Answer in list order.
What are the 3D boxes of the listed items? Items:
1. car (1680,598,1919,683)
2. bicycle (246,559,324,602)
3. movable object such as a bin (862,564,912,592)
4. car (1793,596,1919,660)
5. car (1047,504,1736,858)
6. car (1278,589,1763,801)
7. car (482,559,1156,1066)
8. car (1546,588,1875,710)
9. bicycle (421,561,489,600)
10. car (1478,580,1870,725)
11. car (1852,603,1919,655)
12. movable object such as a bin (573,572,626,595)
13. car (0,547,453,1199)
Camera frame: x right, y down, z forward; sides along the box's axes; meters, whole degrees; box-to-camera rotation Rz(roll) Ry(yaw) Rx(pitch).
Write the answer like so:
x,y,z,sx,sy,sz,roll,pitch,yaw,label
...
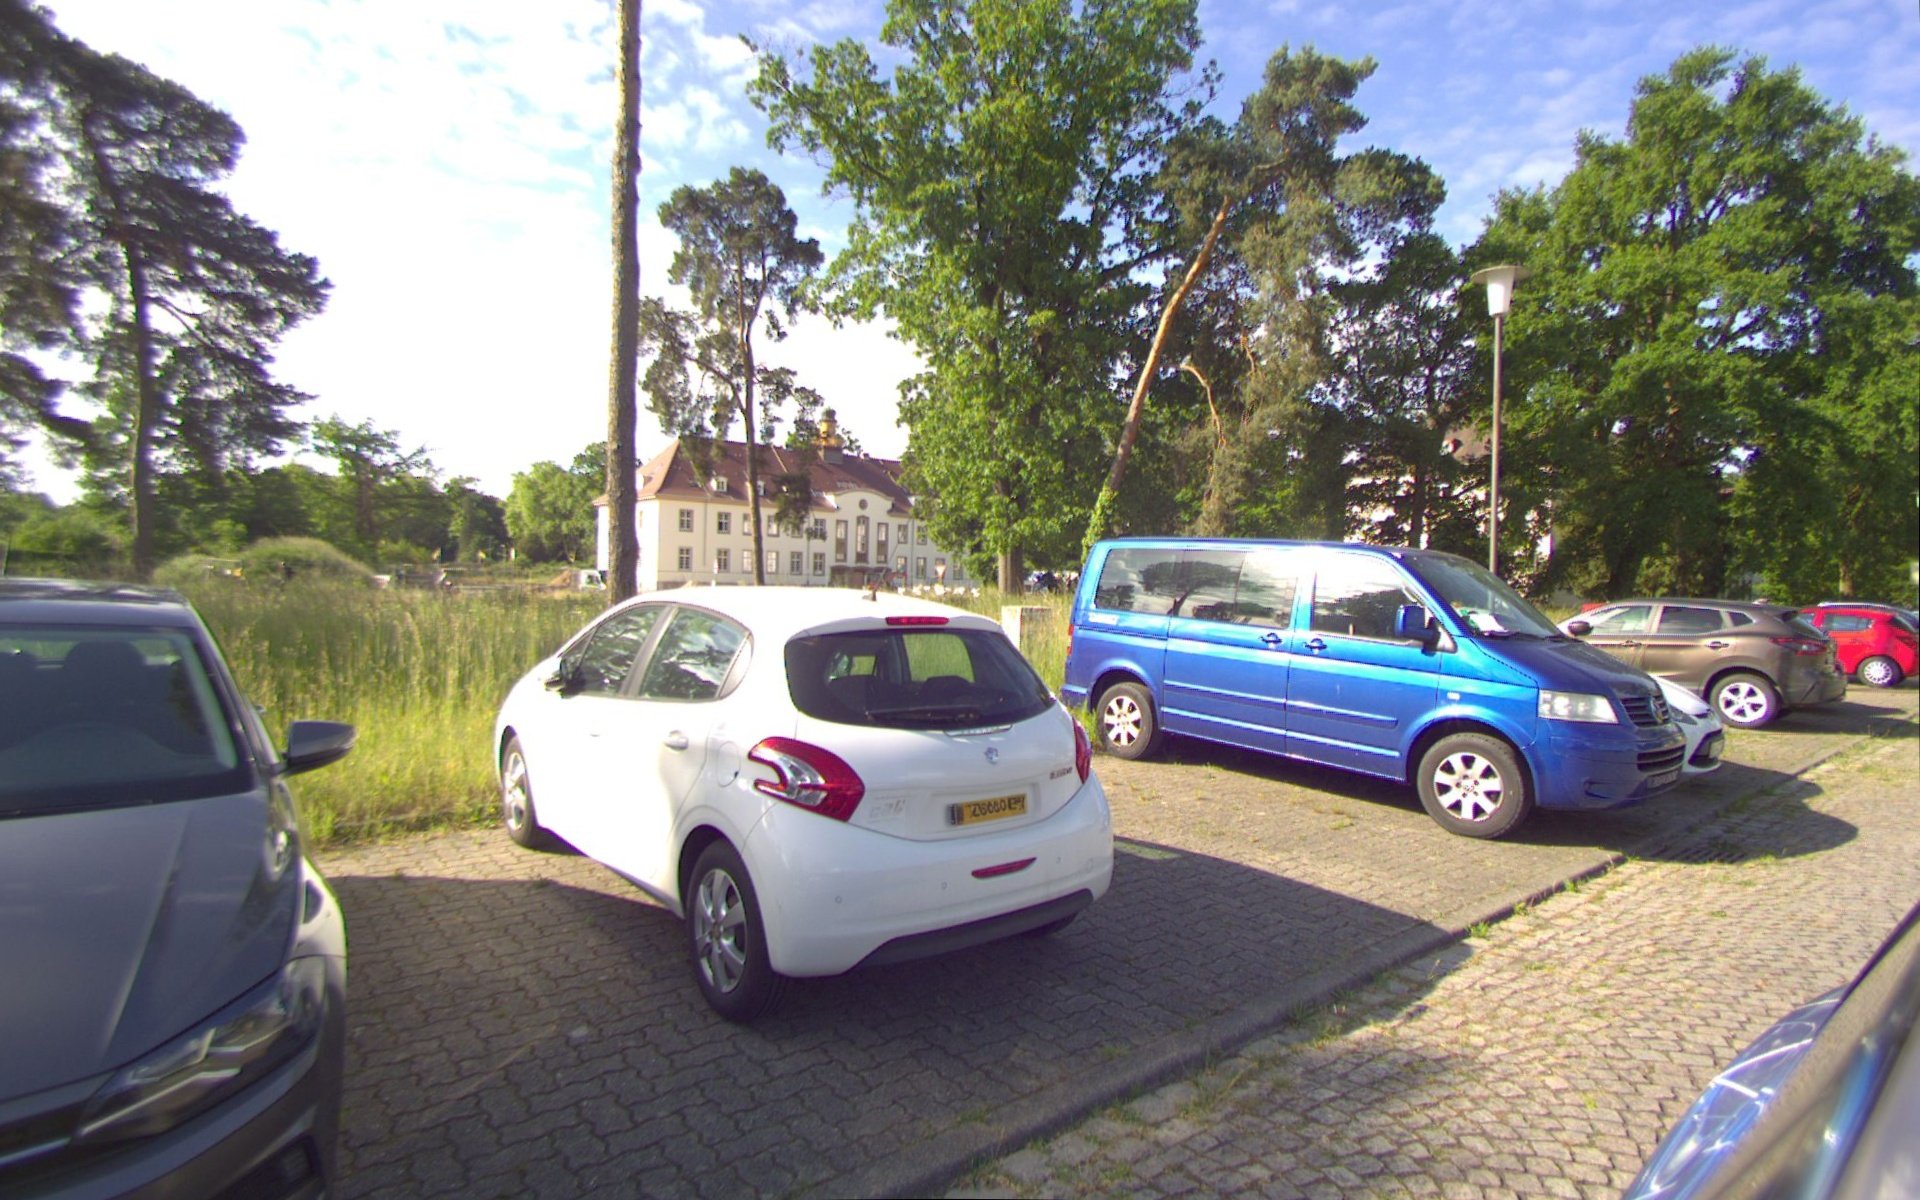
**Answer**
x,y,z,sx,sy,sz,roll,pitch,yaw,label
17.258,0.750,20.606,1.513,1.514,3.995,0,1,-40,car
-33.006,-0.994,49.516,3.077,2.038,0.952,-2,2,-41,bicycle
-8.003,-2.425,110.514,4.974,2.937,2.182,1,1,-33,movable object such as a bin
25.103,0.739,26.975,1.622,1.619,4.271,0,1,-40,car
3.101,0.338,8.280,1.964,2.038,4.767,1,3,-39,car
5.167,0.717,9.705,1.582,1.485,3.727,1,2,-41,car
-0.994,0.583,4.942,1.605,1.510,3.654,0,1,-39,car
11.636,0.656,15.904,1.672,1.558,3.835,1,2,-39,car
-26.792,-1.050,53.747,3.077,2.038,0.952,-2,2,-41,bicycle
9.666,0.588,13.965,1.755,1.631,4.115,1,1,-41,car
28.904,0.862,29.736,1.715,1.484,3.809,0,1,-38,car
-33.950,-1.542,95.233,5.714,2.039,2.092,2,1,41,movable object such as a bin
-2.802,0.596,2.869,1.725,1.468,3.792,1,2,-38,car
